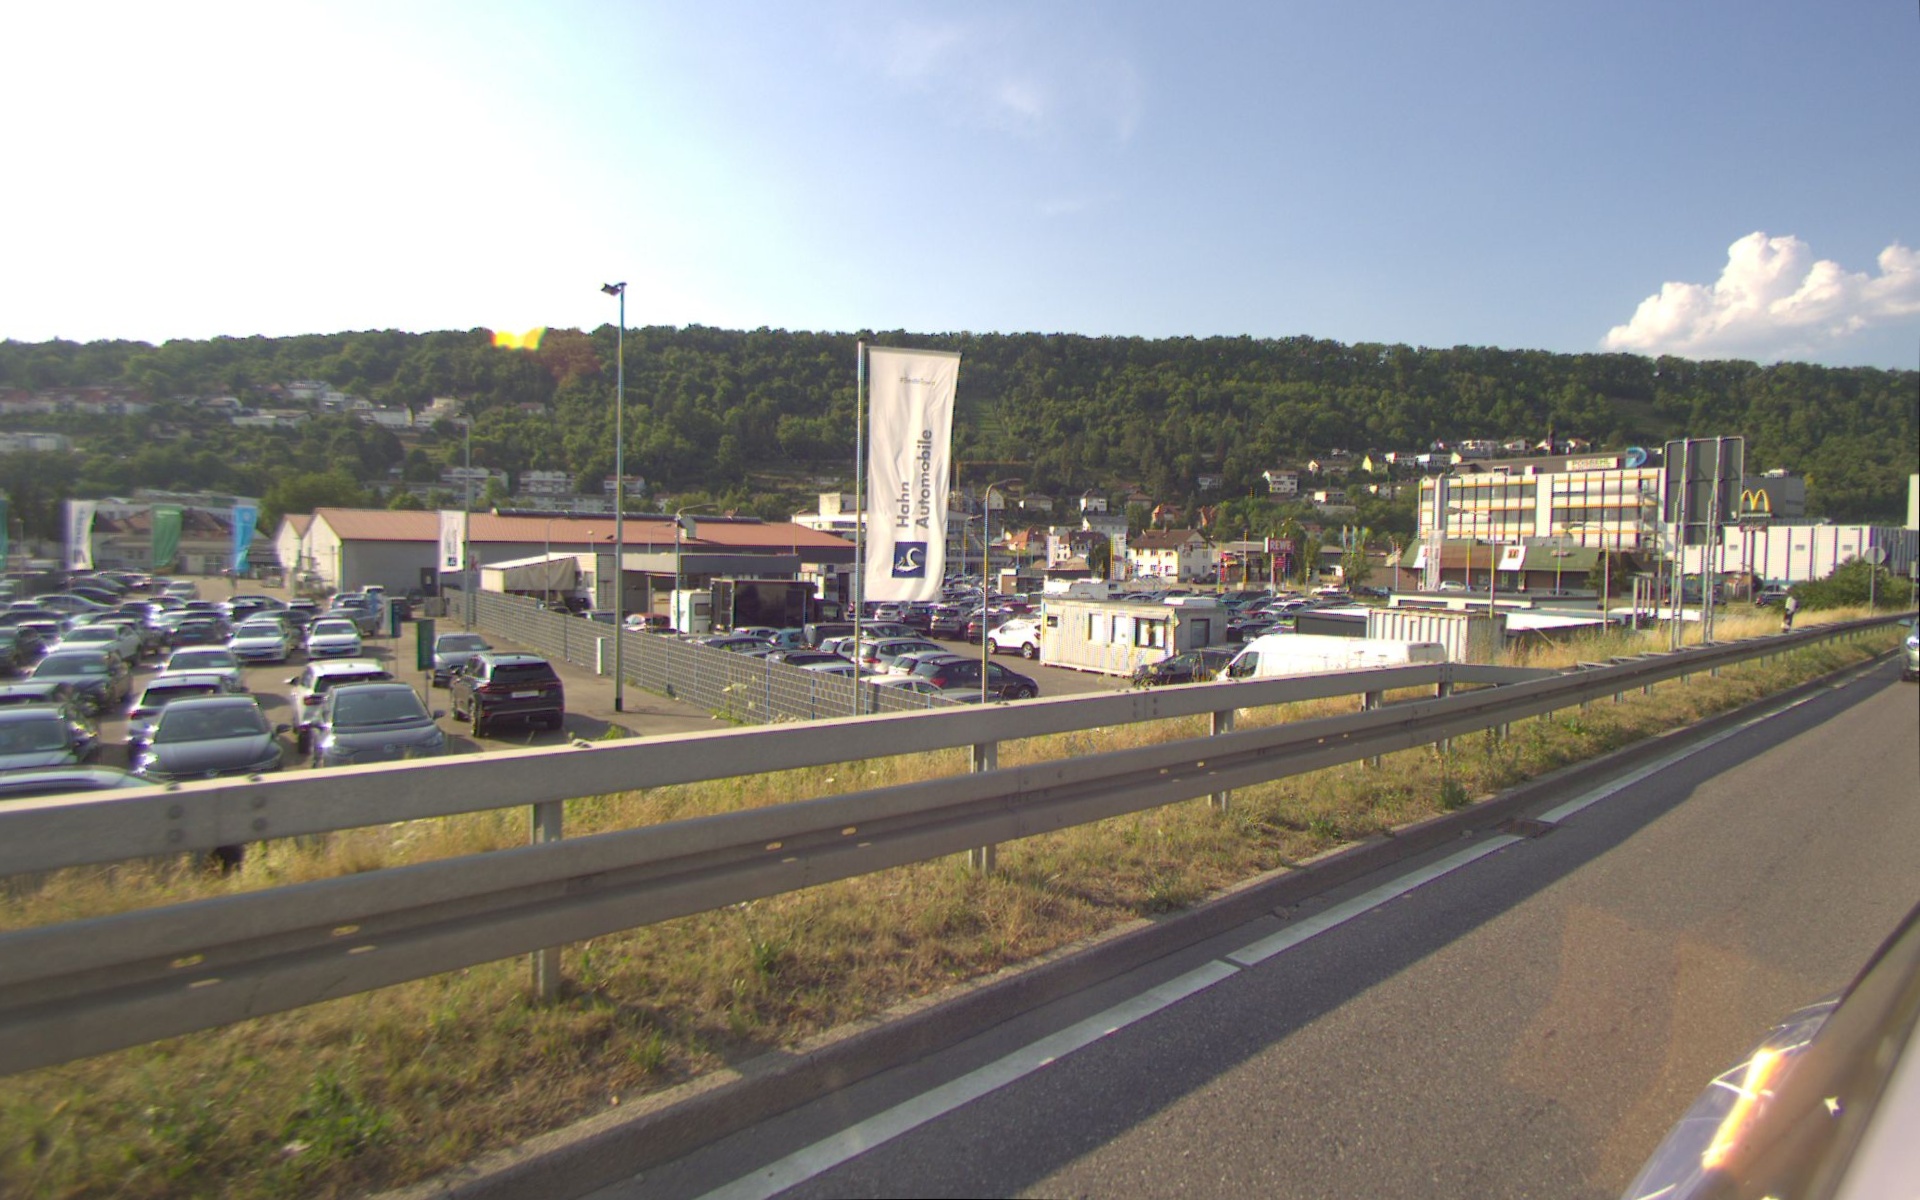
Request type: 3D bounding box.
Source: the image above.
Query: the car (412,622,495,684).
[{"bbox_3d":[-15.670,1.566,31.200,1.766,1.562,4.434,-2,2,-33],"label":"car"}]

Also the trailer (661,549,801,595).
[{"bbox_3d":[-10.731,-1.338,47.757,6.167,2.047,1.999,-2,1,-37],"label":"trailer"}]

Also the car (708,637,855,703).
[{"bbox_3d":[-5.419,2.084,30.945,4.162,1.614,1.602,-2,1,-36],"label":"car"}]

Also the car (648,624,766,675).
[{"bbox_3d":[-9.290,1.764,37.257,3.820,1.562,1.800,-2,2,-36],"label":"car"}]

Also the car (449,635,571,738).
[{"bbox_3d":[-10.139,1.816,22.630,1.766,1.735,4.435,-2,2,-33],"label":"car"}]

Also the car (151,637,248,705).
[{"bbox_3d":[-20.204,1.829,27.045,1.766,1.385,4.434,-2,2,-33],"label":"car"}]

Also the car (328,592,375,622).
[{"bbox_3d":[-37.751,0.411,62.851,1.958,1.738,4.008,0,1,-23],"label":"car"}]

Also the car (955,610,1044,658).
[{"bbox_3d":[1.676,1.435,44.225,1.772,1.677,3.999,-2,4,-37],"label":"car"}]

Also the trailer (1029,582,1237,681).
[{"bbox_3d":[6.484,1.039,39.272,3.296,3.364,7.902,-2,2,-36],"label":"trailer"}]

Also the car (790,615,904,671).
[{"bbox_3d":[-4.170,1.548,37.608,3.944,1.824,1.602,-2,1,-36],"label":"car"}]

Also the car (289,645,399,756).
[{"bbox_3d":[-12.887,1.964,21.071,1.766,1.735,4.434,-2,2,-33],"label":"car"}]

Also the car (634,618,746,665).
[{"bbox_3d":[-10.502,1.578,39.420,3.820,1.562,1.800,-2,2,-36],"label":"car"}]

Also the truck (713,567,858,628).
[{"bbox_3d":[-7.403,-0.171,43.342,5.862,2.400,1.998,-2,1,-38],"label":"truck"}]

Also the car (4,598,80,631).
[{"bbox_3d":[-51.336,0.786,56.700,1.958,1.738,4.008,0,1,-23],"label":"car"}]

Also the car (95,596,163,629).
[{"bbox_3d":[-47.114,0.674,57.482,1.958,1.738,4.008,0,1,-23],"label":"car"}]

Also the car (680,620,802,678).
[{"bbox_3d":[-7.577,1.635,35.146,3.818,1.722,1.602,-2,1,-36],"label":"car"}]

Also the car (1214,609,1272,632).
[{"bbox_3d":[15.037,1.074,53.709,2.707,1.138,1.279,-1,1,-18],"label":"car"}]

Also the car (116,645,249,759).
[{"bbox_3d":[-15.545,1.930,20.428,1.766,1.735,4.434,-2,2,-33],"label":"car"}]

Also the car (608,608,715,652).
[{"bbox_3d":[-12.041,1.178,40.904,3.818,1.562,1.602,-2,1,-36],"label":"car"}]

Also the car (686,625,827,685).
[{"bbox_3d":[-6.574,1.738,32.921,4.205,1.614,1.602,-2,1,-36],"label":"car"}]

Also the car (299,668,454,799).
[{"bbox_3d":[-9.931,2.114,17.090,1.755,1.562,3.984,-2,2,-37],"label":"car"}]

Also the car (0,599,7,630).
[{"bbox_3d":[-54.389,0.861,55.390,1.958,1.738,4.008,0,1,-23],"label":"car"}]

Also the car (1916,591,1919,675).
[{"bbox_3d":[18.067,0.523,17.614,3.816,1.407,1.690,-2,3,-41],"label":"car"}]

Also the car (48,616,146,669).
[{"bbox_3d":[-30.143,1.425,35.480,1.765,1.562,4.350,-1,1,-29],"label":"car"}]

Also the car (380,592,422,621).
[{"bbox_3d":[-35.300,0.361,64.019,1.958,1.738,4.008,0,1,-23],"label":"car"}]

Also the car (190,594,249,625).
[{"bbox_3d":[-43.738,0.545,59.856,1.958,1.738,4.008,0,1,-23],"label":"car"}]

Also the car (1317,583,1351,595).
[{"bbox_3d":[46.221,-1.342,125.225,1.658,1.438,3.652,-2,2,-36],"label":"car"}]

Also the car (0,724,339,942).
[{"bbox_3d":[-9.145,2.392,10.517,4.355,1.562,1.798,-2,2,-40],"label":"car"}]

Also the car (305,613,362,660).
[{"bbox_3d":[-24.517,1.391,39.550,1.766,1.562,4.347,-2,2,-33],"label":"car"}]

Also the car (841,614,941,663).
[{"bbox_3d":[-2.813,1.529,41.442,3.818,1.722,1.602,-2,1,-36],"label":"car"}]

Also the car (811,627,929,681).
[{"bbox_3d":[-3.125,1.843,35.431,3.818,1.583,1.602,-2,1,-36],"label":"car"}]

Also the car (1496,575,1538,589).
[{"bbox_3d":[66.864,-2.150,121.500,1.828,1.475,3.997,-2,4,-39],"label":"car"}]

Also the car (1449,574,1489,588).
[{"bbox_3d":[63.261,-2.371,125.803,1.828,1.475,3.996,-2,4,-40],"label":"car"}]

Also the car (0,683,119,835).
[{"bbox_3d":[-13.842,2.246,14.874,1.766,1.562,4.434,-2,2,-33],"label":"car"}]

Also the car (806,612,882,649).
[{"bbox_3d":[-5.588,1.408,48.234,1.766,1.562,4.347,-2,2,-34],"label":"car"}]

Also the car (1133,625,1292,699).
[{"bbox_3d":[7.890,1.869,31.736,4.531,2.039,1.882,0,1,29],"label":"car"}]

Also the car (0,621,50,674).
[{"bbox_3d":[-32.579,1.598,34.223,1.765,1.562,4.350,-1,1,-29],"label":"car"}]
